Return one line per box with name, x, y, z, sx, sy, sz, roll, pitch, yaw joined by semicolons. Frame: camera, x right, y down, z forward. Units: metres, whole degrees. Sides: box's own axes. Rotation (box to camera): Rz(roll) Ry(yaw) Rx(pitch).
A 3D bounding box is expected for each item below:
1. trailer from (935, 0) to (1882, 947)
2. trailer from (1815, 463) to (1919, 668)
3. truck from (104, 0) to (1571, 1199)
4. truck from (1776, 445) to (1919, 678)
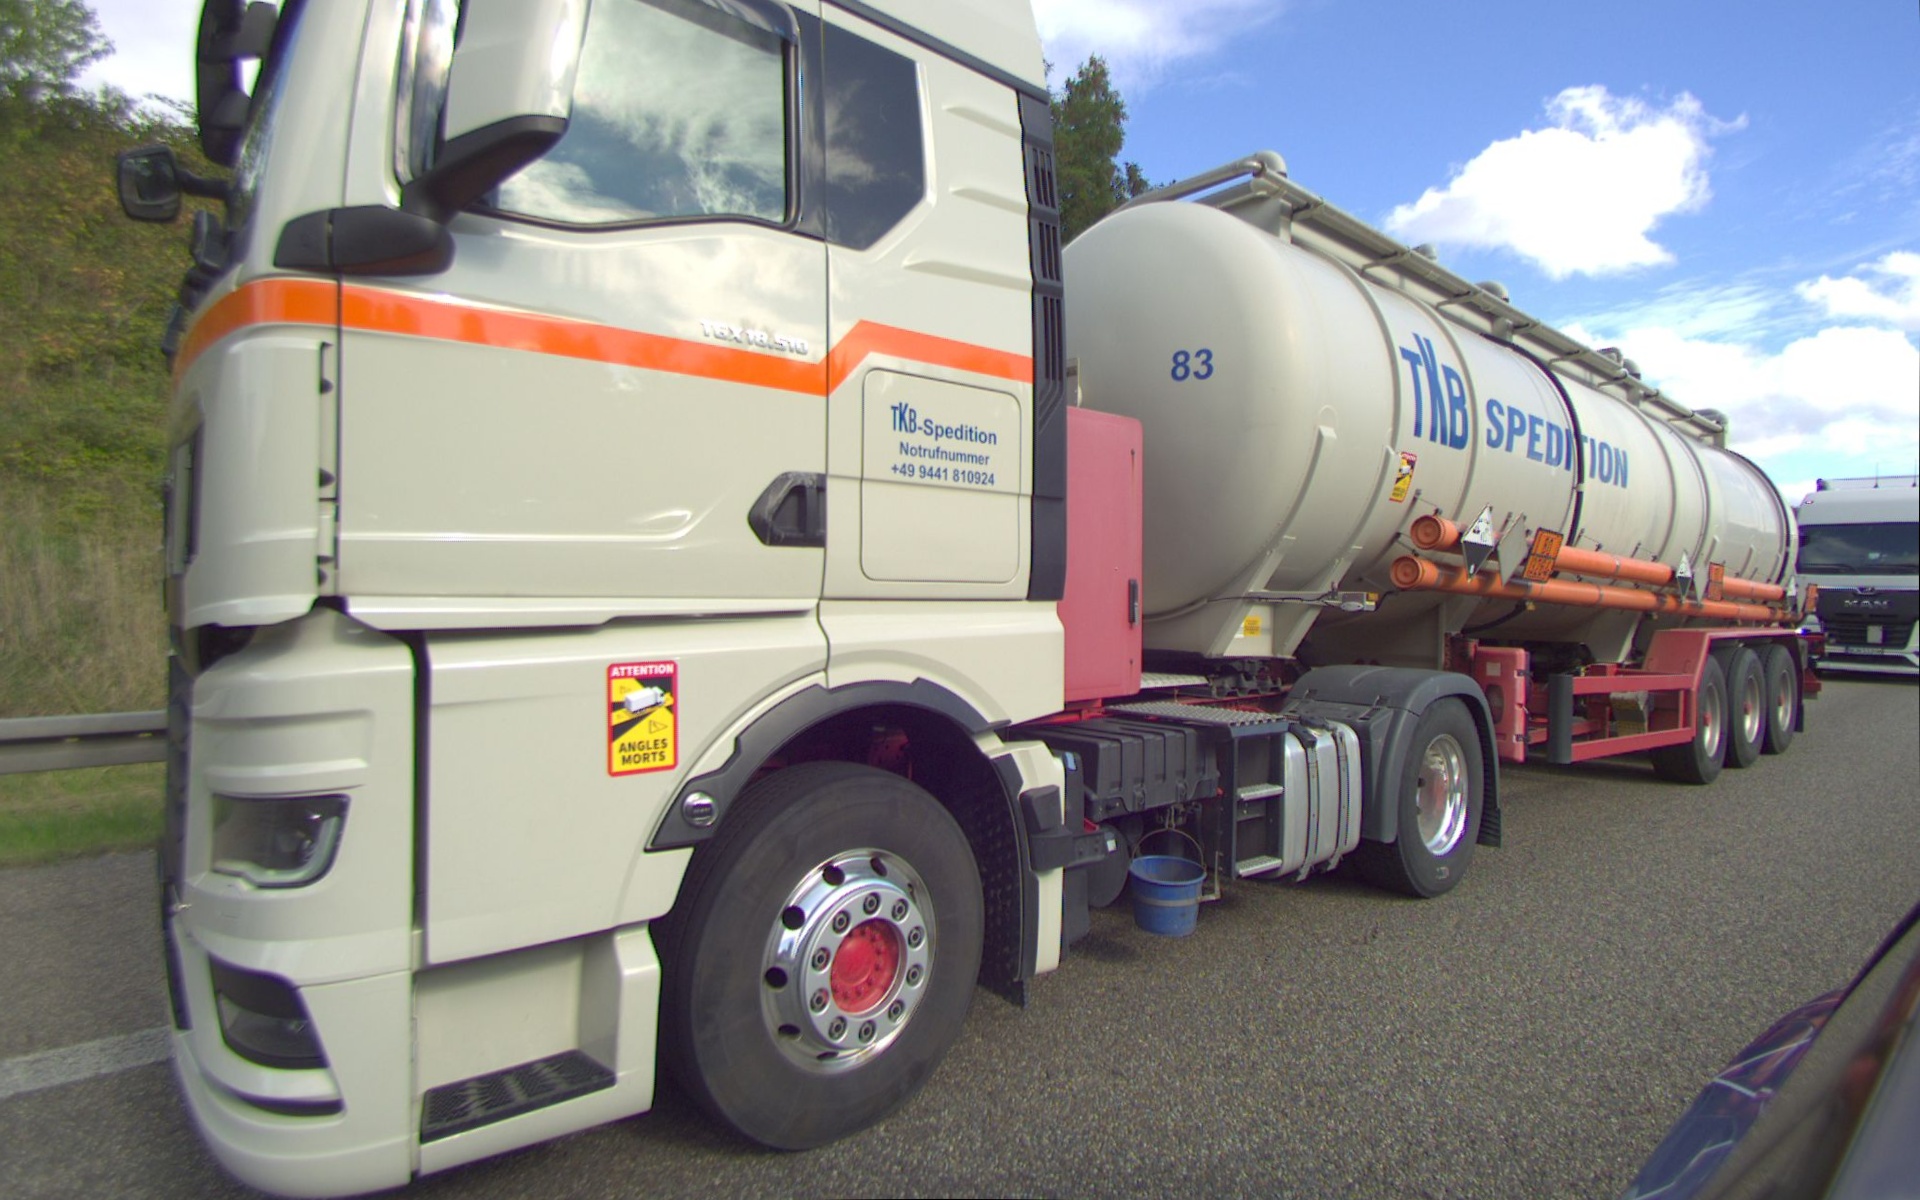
trailer;4.950;-0.711;8.591;10.983;4.077;2.804;0;0;-40
trailer;24.248;-0.719;24.776;13.133;4.122;2.832;0;1;-40
truck;0.054;-0.704;4.480;5.798;4.094;2.809;0;0;-40
truck;18.775;-0.698;20.192;5.606;4.123;2.840;0;0;-40
